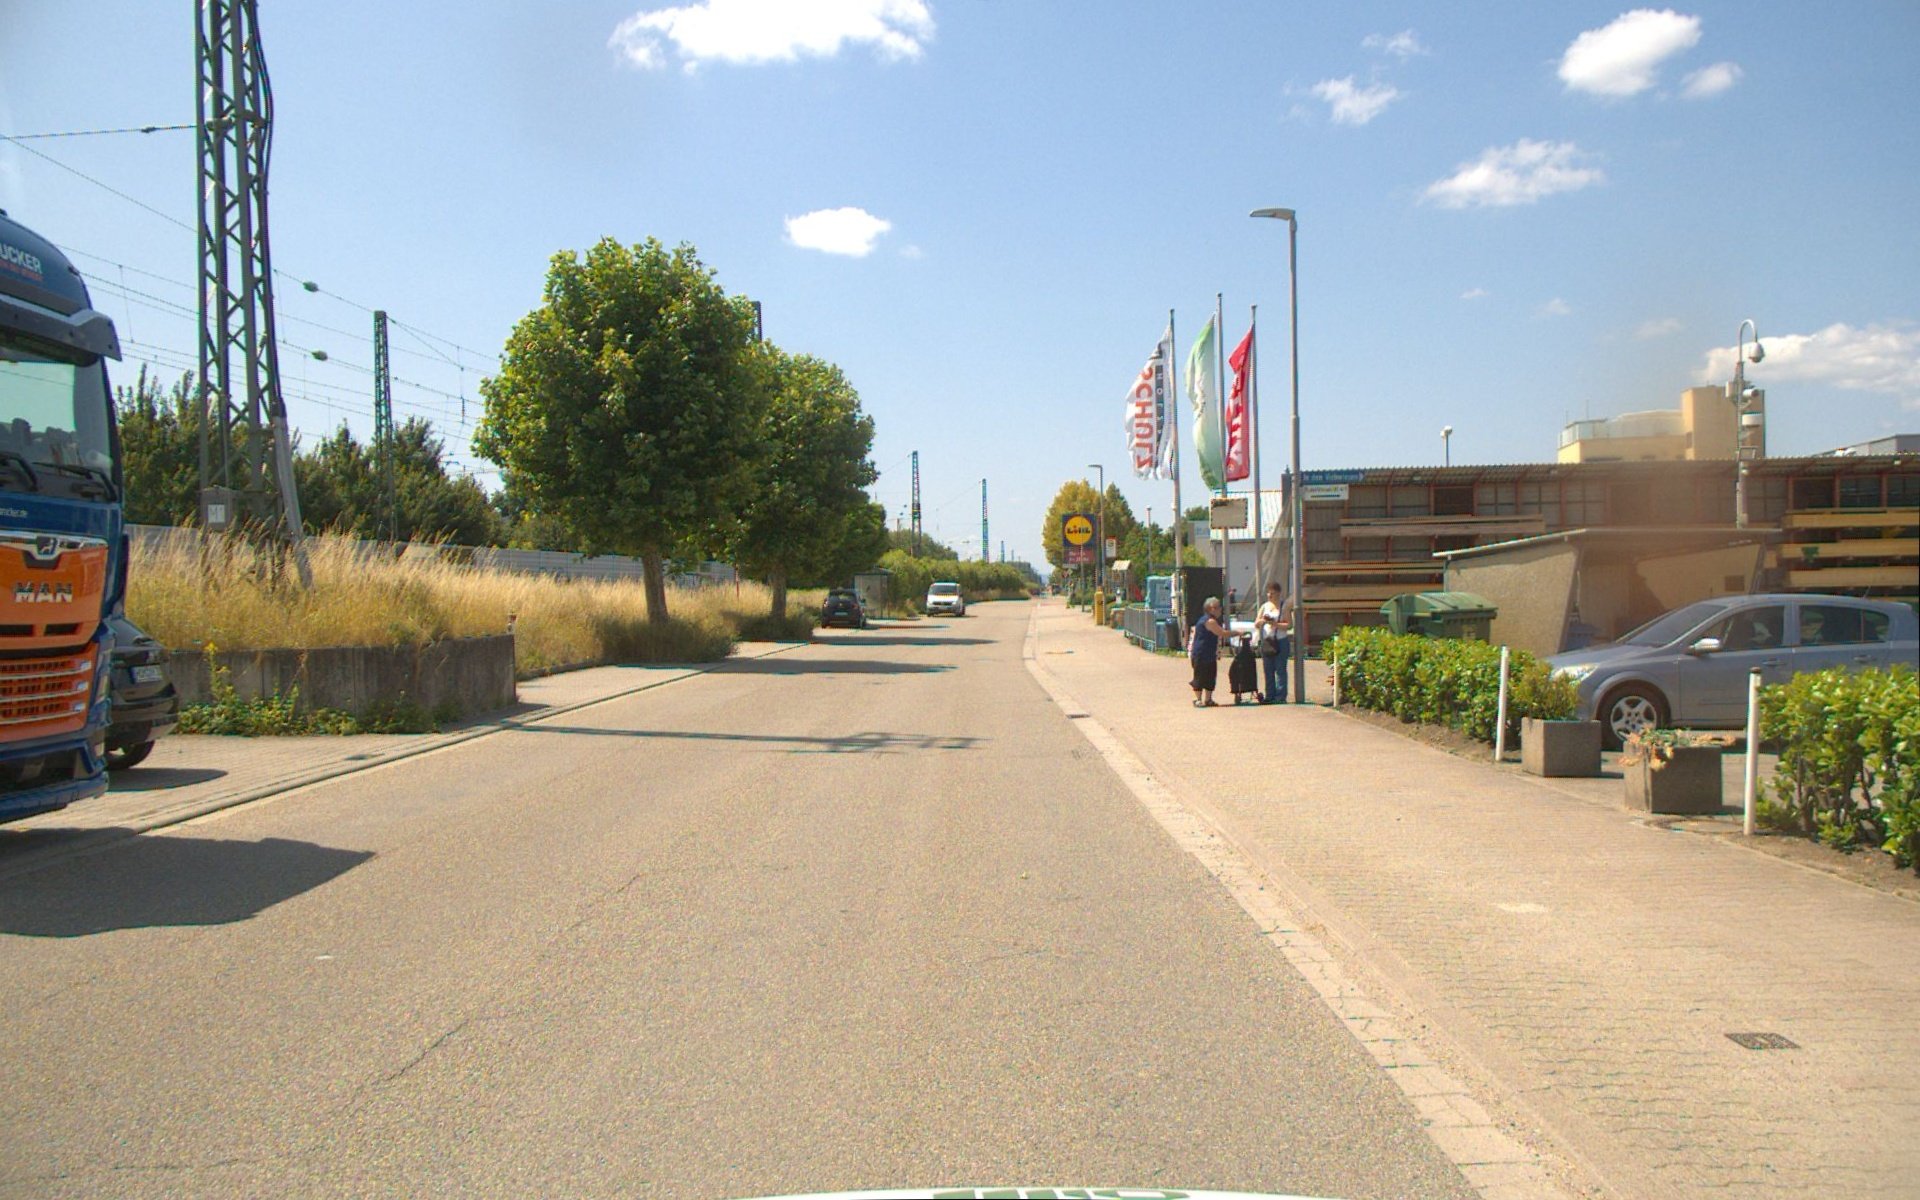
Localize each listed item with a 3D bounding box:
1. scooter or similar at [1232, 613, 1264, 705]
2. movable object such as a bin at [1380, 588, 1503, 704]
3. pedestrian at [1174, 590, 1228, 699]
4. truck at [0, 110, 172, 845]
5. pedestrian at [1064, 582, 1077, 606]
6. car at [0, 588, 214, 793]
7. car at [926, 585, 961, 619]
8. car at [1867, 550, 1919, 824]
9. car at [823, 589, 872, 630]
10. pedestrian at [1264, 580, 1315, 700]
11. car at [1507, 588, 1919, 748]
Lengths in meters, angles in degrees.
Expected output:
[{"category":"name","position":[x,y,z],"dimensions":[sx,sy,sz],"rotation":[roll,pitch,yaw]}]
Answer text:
[{"category":"scooter or similar","position":[3.868,0.791,22.204],"dimensions":[0.327,1.219,0.398],"rotation":[-2,-2,1]},{"category":"movable object such as a bin","position":[6.374,0.586,21.894],"dimensions":[1.254,1.484,1.035],"rotation":[0,0,-37]},{"category":"pedestrian","position":[3.241,0.595,22.270],"dimensions":[0.582,1.430,0.584],"rotation":[-2,-2,0]},{"category":"truck","position":[-8.314,-0.586,9.210],"dimensions":[6.480,3.890,2.663],"rotation":[-1,0,-1]},{"category":"pedestrian","position":[7.565,-0.418,113.435],"dimensions":[0.746,1.630,1.210],"rotation":[-1,0,0]},{"category":"car","position":[-8.214,0.758,13.371],"dimensions":[3.570,1.526,1.699],"rotation":[-2,-2,-3]},{"category":"car","position":[-0.917,0.097,93.353],"dimensions":[1.800,1.890,4.484],"rotation":[0,0,1]},{"category":"car","position":[7.885,0.449,9.671],"dimensions":[4.127,1.662,1.800],"rotation":[-2,-2,-1]},{"category":"car","position":[-4.594,0.373,67.843],"dimensions":[1.706,1.624,3.579],"rotation":[0,0,0]},{"category":"pedestrian","position":[4.397,0.534,22.099],"dimensions":[0.524,1.567,0.510],"rotation":[-1,-2,0]},{"category":"car","position":[7.614,0.636,16.455],"dimensions":[3.766,1.481,1.818],"rotation":[0,0,1]}]
